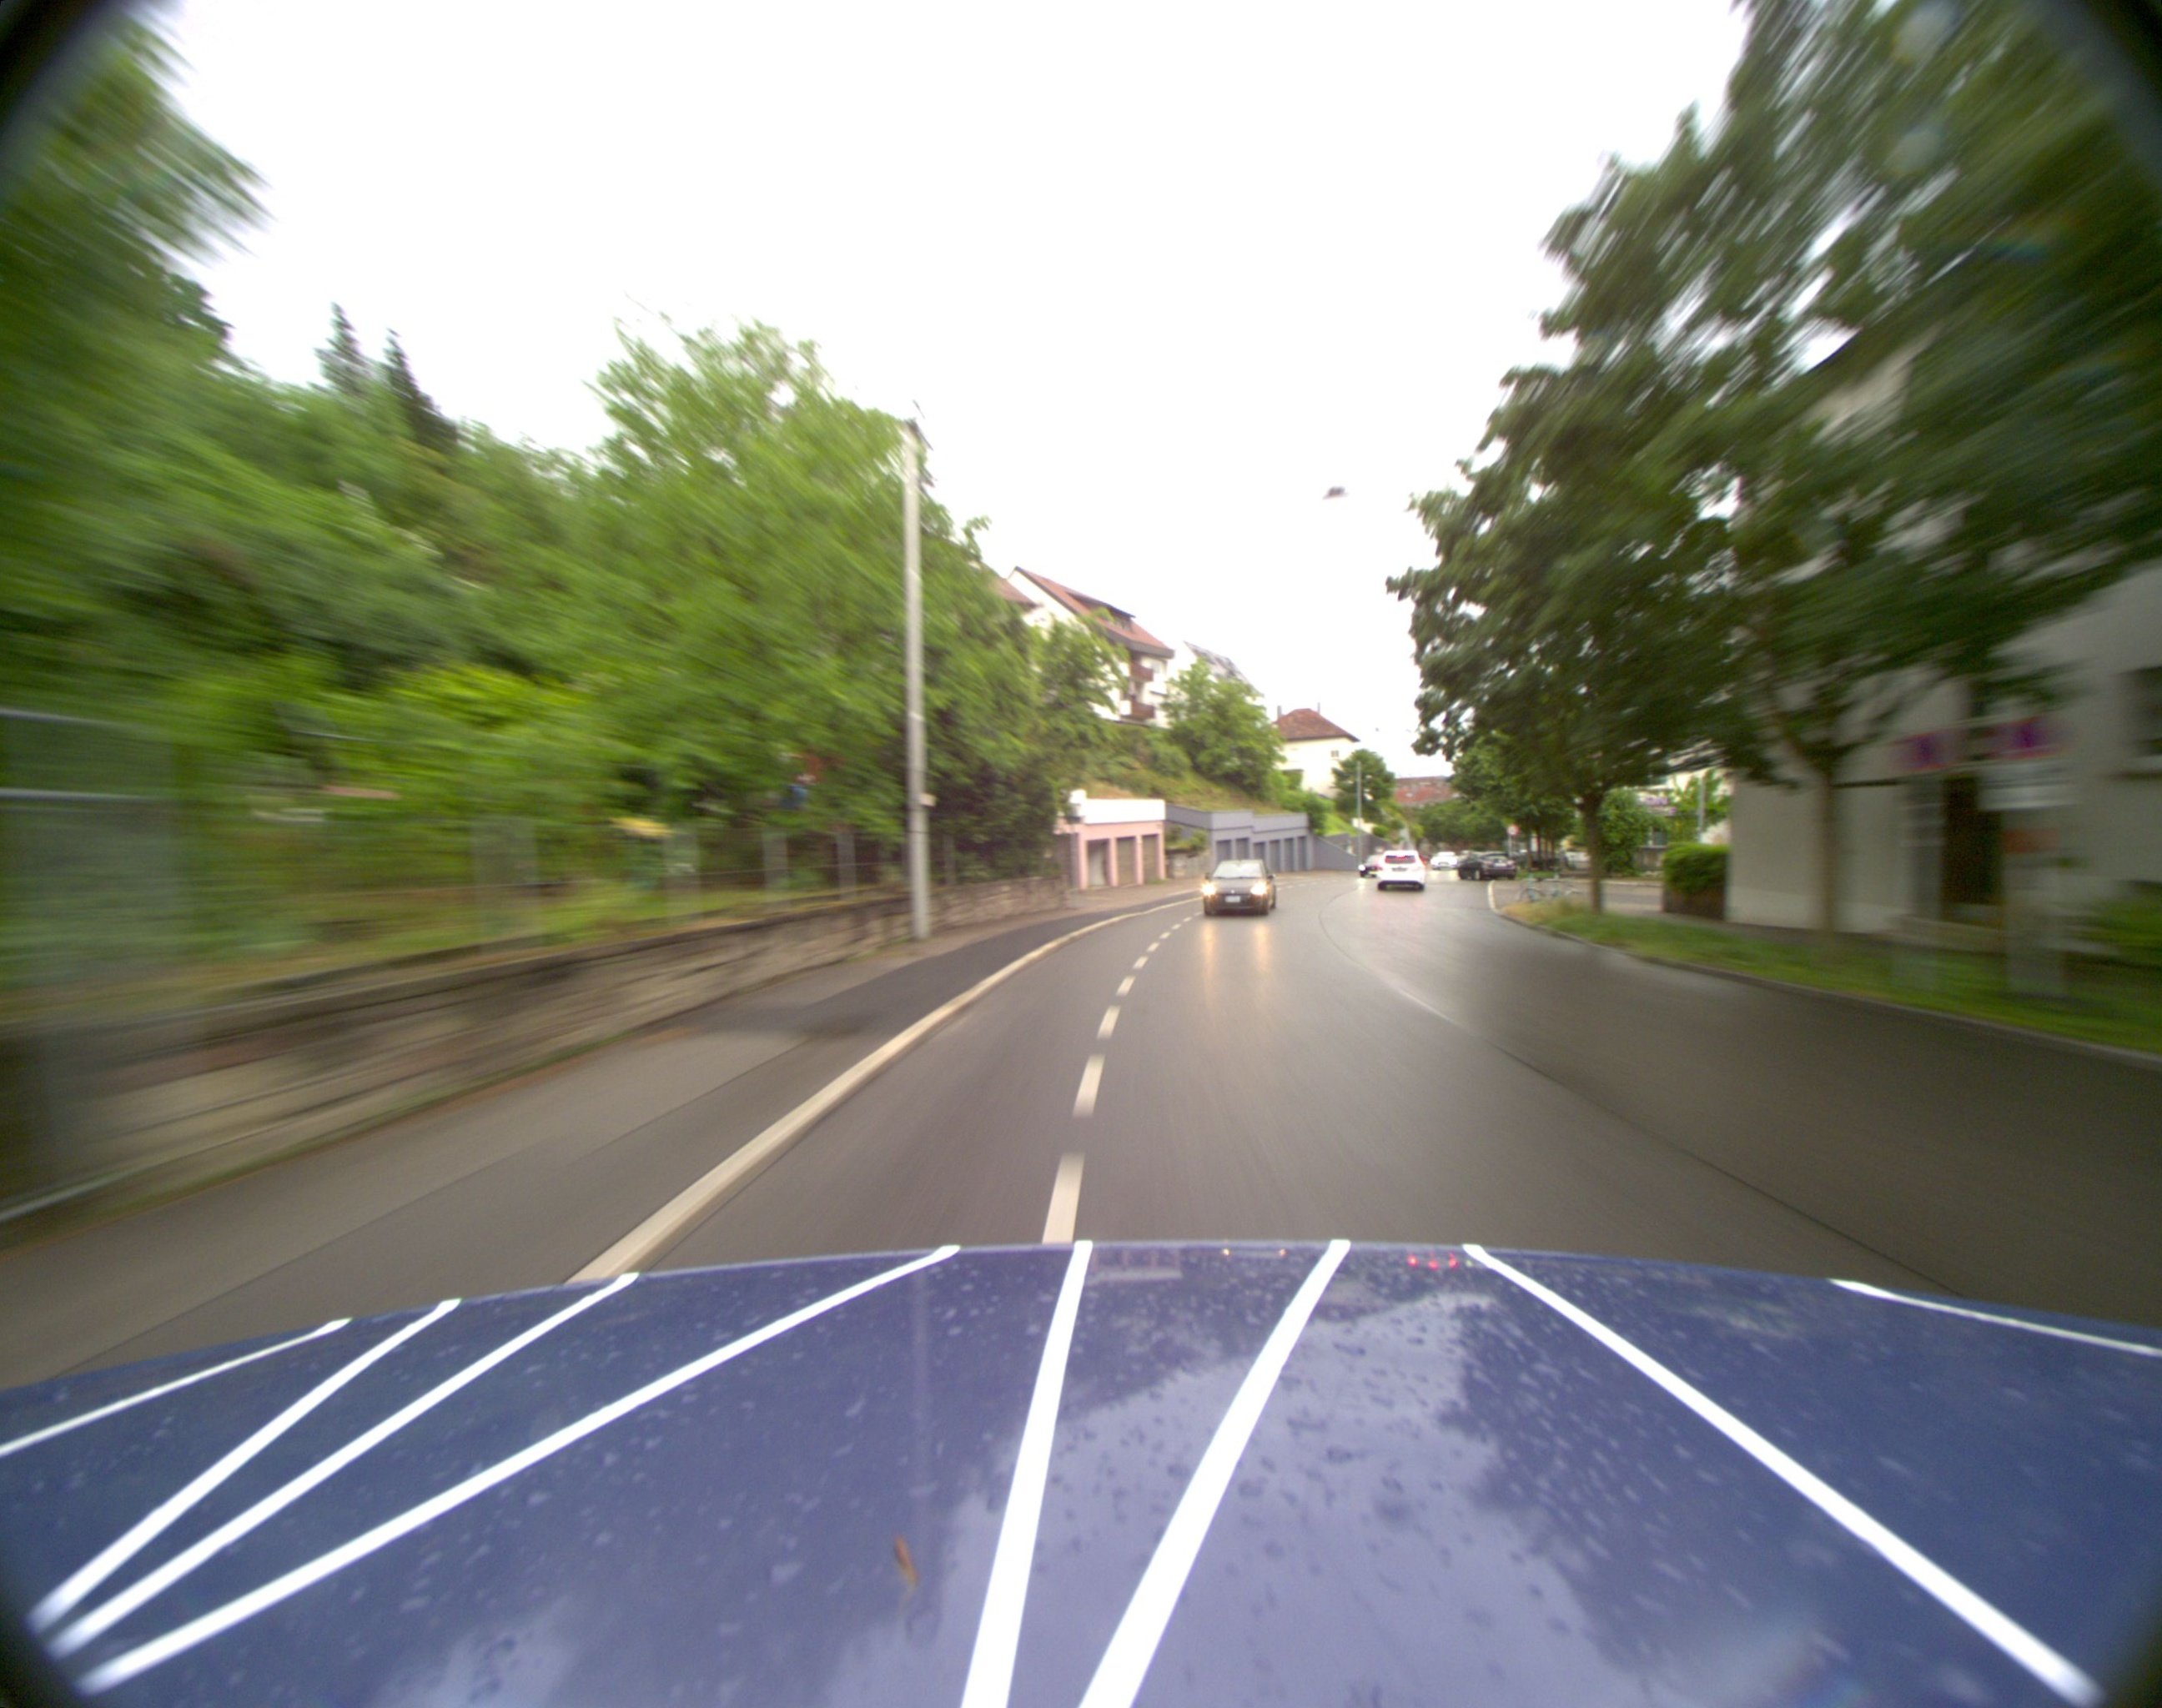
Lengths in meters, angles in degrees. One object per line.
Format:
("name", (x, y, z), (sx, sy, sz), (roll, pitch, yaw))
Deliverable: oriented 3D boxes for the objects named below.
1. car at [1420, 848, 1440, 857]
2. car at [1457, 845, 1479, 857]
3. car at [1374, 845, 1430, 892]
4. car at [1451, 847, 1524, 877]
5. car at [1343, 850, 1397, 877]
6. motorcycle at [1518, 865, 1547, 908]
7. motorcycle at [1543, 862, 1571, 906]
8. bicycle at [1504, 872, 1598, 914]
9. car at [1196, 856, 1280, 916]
("car", (63.439, -0.246, 138.231), (1.791, 1.484, 4.362), (-3, -1, 2))
("car", (60.295, -0.453, 118.431), (1.857, 1.766, 4.487), (-3, -1, 12))
("car", (13.369, 0.560, 31.890), (1.985, 1.778, 4.702), (1, 0, 21))
("car", (21.063, 0.387, 39.526), (1.997, 1.383, 4.199), (-1, 1, 8))
("car", (17.907, 0.549, 46.984), (1.995, 1.502, 4.219), (-2, 0, 37))
("motorcycle", (13.459, 0.954, 22.642), (0.557, 1.196, 1.401), (-1, 0, 39))
("motorcycle", (14.137, 0.872, 22.578), (0.552, 1.221, 1.308), (-1, 1, 39))
("bicycle", (12.371, 1.024, 20.057), (1.966, 1.054, 0.755), (-1, 0, 10))
("car", (4.447, 0.829, 21.127), (1.695, 1.456, 4.006), (-1, 0, 20))
